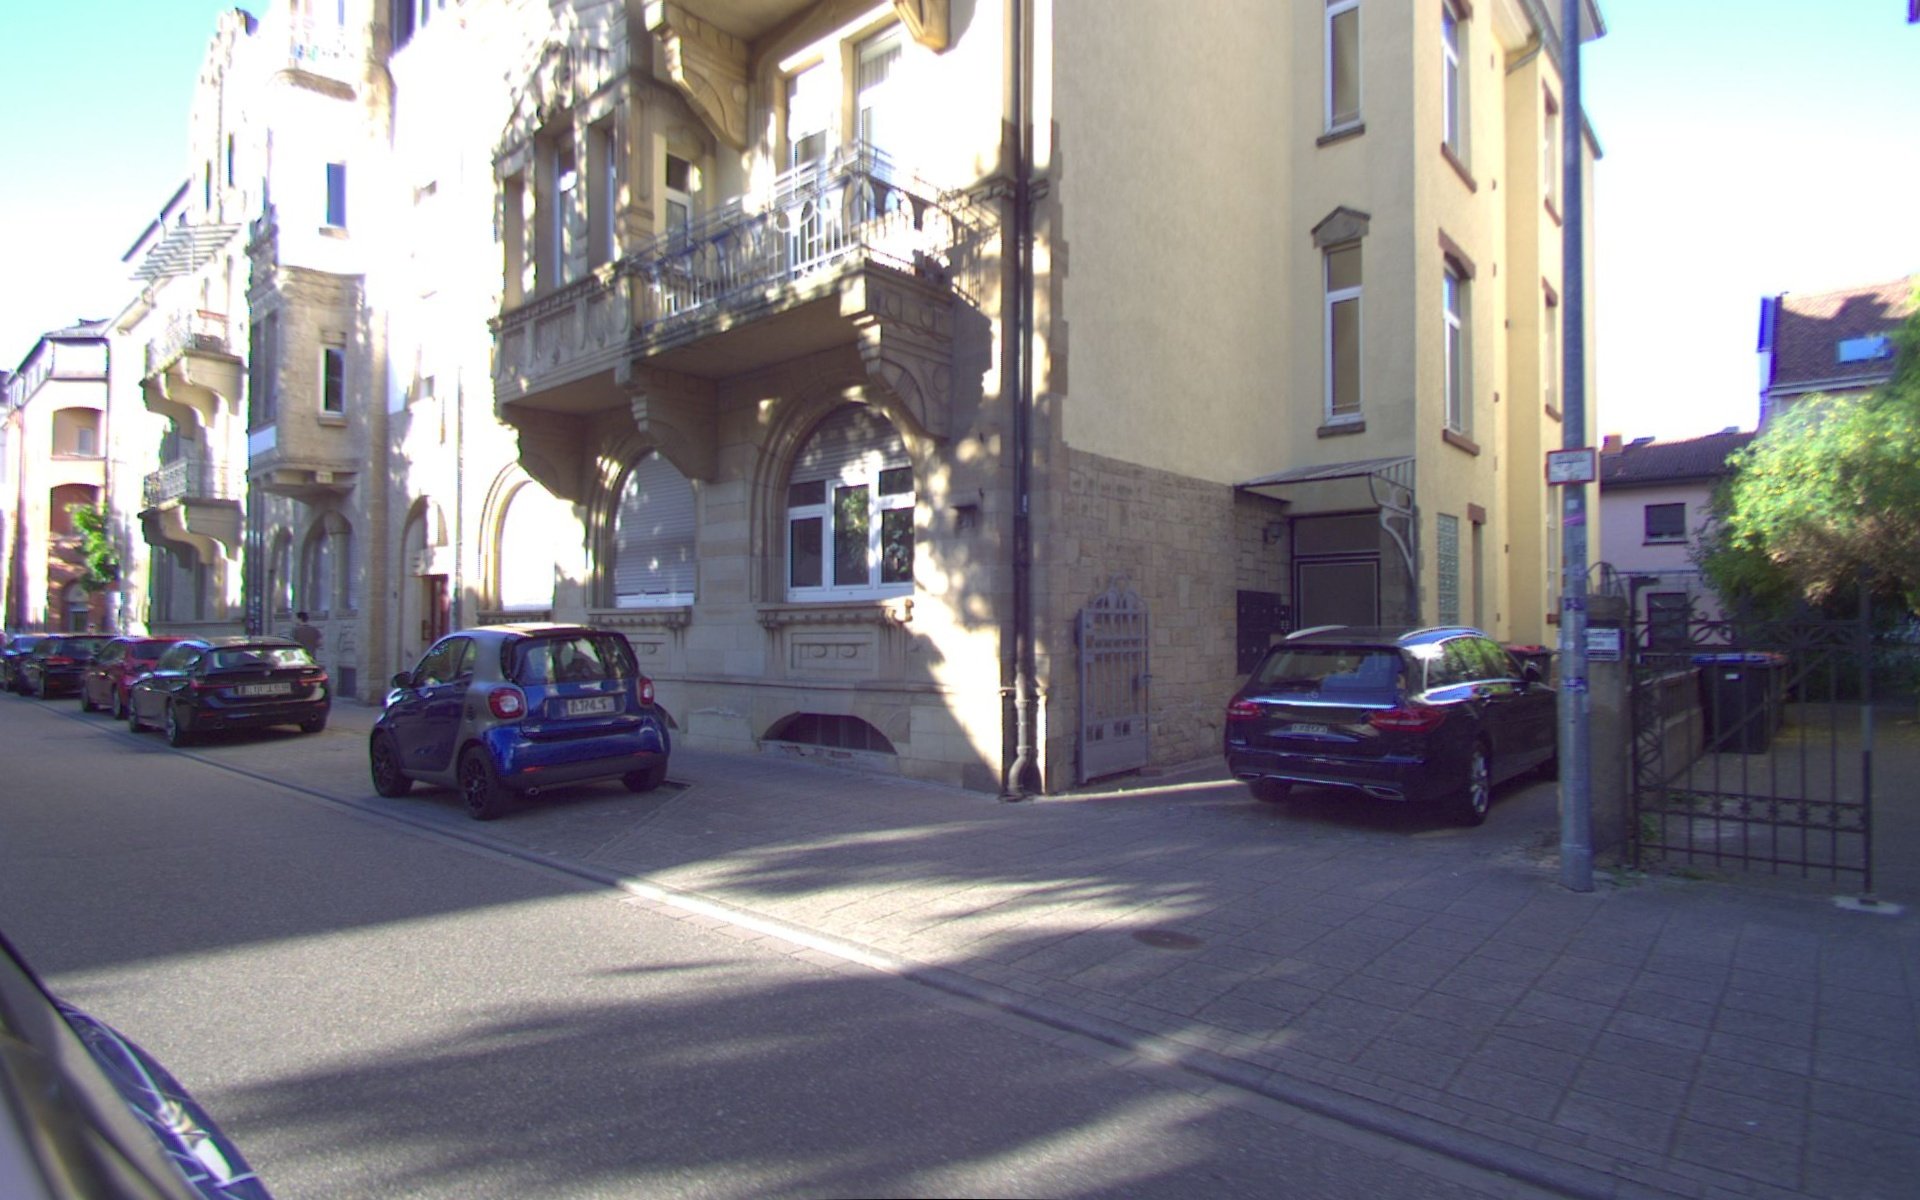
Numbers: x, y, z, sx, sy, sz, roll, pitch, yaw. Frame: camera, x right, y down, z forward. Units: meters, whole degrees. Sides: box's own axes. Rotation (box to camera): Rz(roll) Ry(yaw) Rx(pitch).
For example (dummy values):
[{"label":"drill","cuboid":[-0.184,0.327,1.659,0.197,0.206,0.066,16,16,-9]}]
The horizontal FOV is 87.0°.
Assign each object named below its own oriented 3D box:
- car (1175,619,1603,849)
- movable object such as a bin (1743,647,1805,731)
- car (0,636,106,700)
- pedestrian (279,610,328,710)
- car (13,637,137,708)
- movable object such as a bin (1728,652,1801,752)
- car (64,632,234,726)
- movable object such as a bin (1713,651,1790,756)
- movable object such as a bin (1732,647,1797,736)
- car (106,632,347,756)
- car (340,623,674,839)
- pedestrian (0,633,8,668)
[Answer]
[{"label":"car","cuboid":[3.915,0.913,8.801,2.068,1.449,4.342,-2,-2,43]},{"label":"movable object such as a bin","cuboid":[11.250,1.205,13.984,0.585,1.101,0.890,-2,-3,43]},{"label":"car","cuboid":[-24.841,1.789,27.334,4.506,1.468,1.870,-2,1,39]},{"label":"pedestrian","cuboid":[-12.556,1.127,19.360,0.497,1.861,0.685,-2,-1,42]},{"label":"car","cuboid":[-20.638,1.618,23.543,3.997,1.477,1.724,-2,-1,42]},{"label":"movable object such as a bin","cuboid":[9.372,1.164,11.792,0.585,1.097,0.779,-2,-3,43]},{"label":"car","cuboid":[-15.238,1.394,18.955,3.769,1.477,1.673,-2,1,39]},{"label":"movable object such as a bin","cuboid":[8.774,1.124,11.216,0.585,1.097,0.840,-2,-3,43]},{"label":"movable object such as a bin","cuboid":[10.438,1.162,13.130,0.585,1.101,0.779,-2,-3,43]},{"label":"car","cuboid":[-10.975,1.269,15.018,4.539,1.450,1.881,-2,1,41]},{"label":"car","cuboid":[-4.118,1.026,9.090,2.860,1.520,1.666,-2,0,41]},{"label":"pedestrian","cuboid":[-47.159,2.452,49.448,1.009,1.715,0.769,-2,-3,41]}]
